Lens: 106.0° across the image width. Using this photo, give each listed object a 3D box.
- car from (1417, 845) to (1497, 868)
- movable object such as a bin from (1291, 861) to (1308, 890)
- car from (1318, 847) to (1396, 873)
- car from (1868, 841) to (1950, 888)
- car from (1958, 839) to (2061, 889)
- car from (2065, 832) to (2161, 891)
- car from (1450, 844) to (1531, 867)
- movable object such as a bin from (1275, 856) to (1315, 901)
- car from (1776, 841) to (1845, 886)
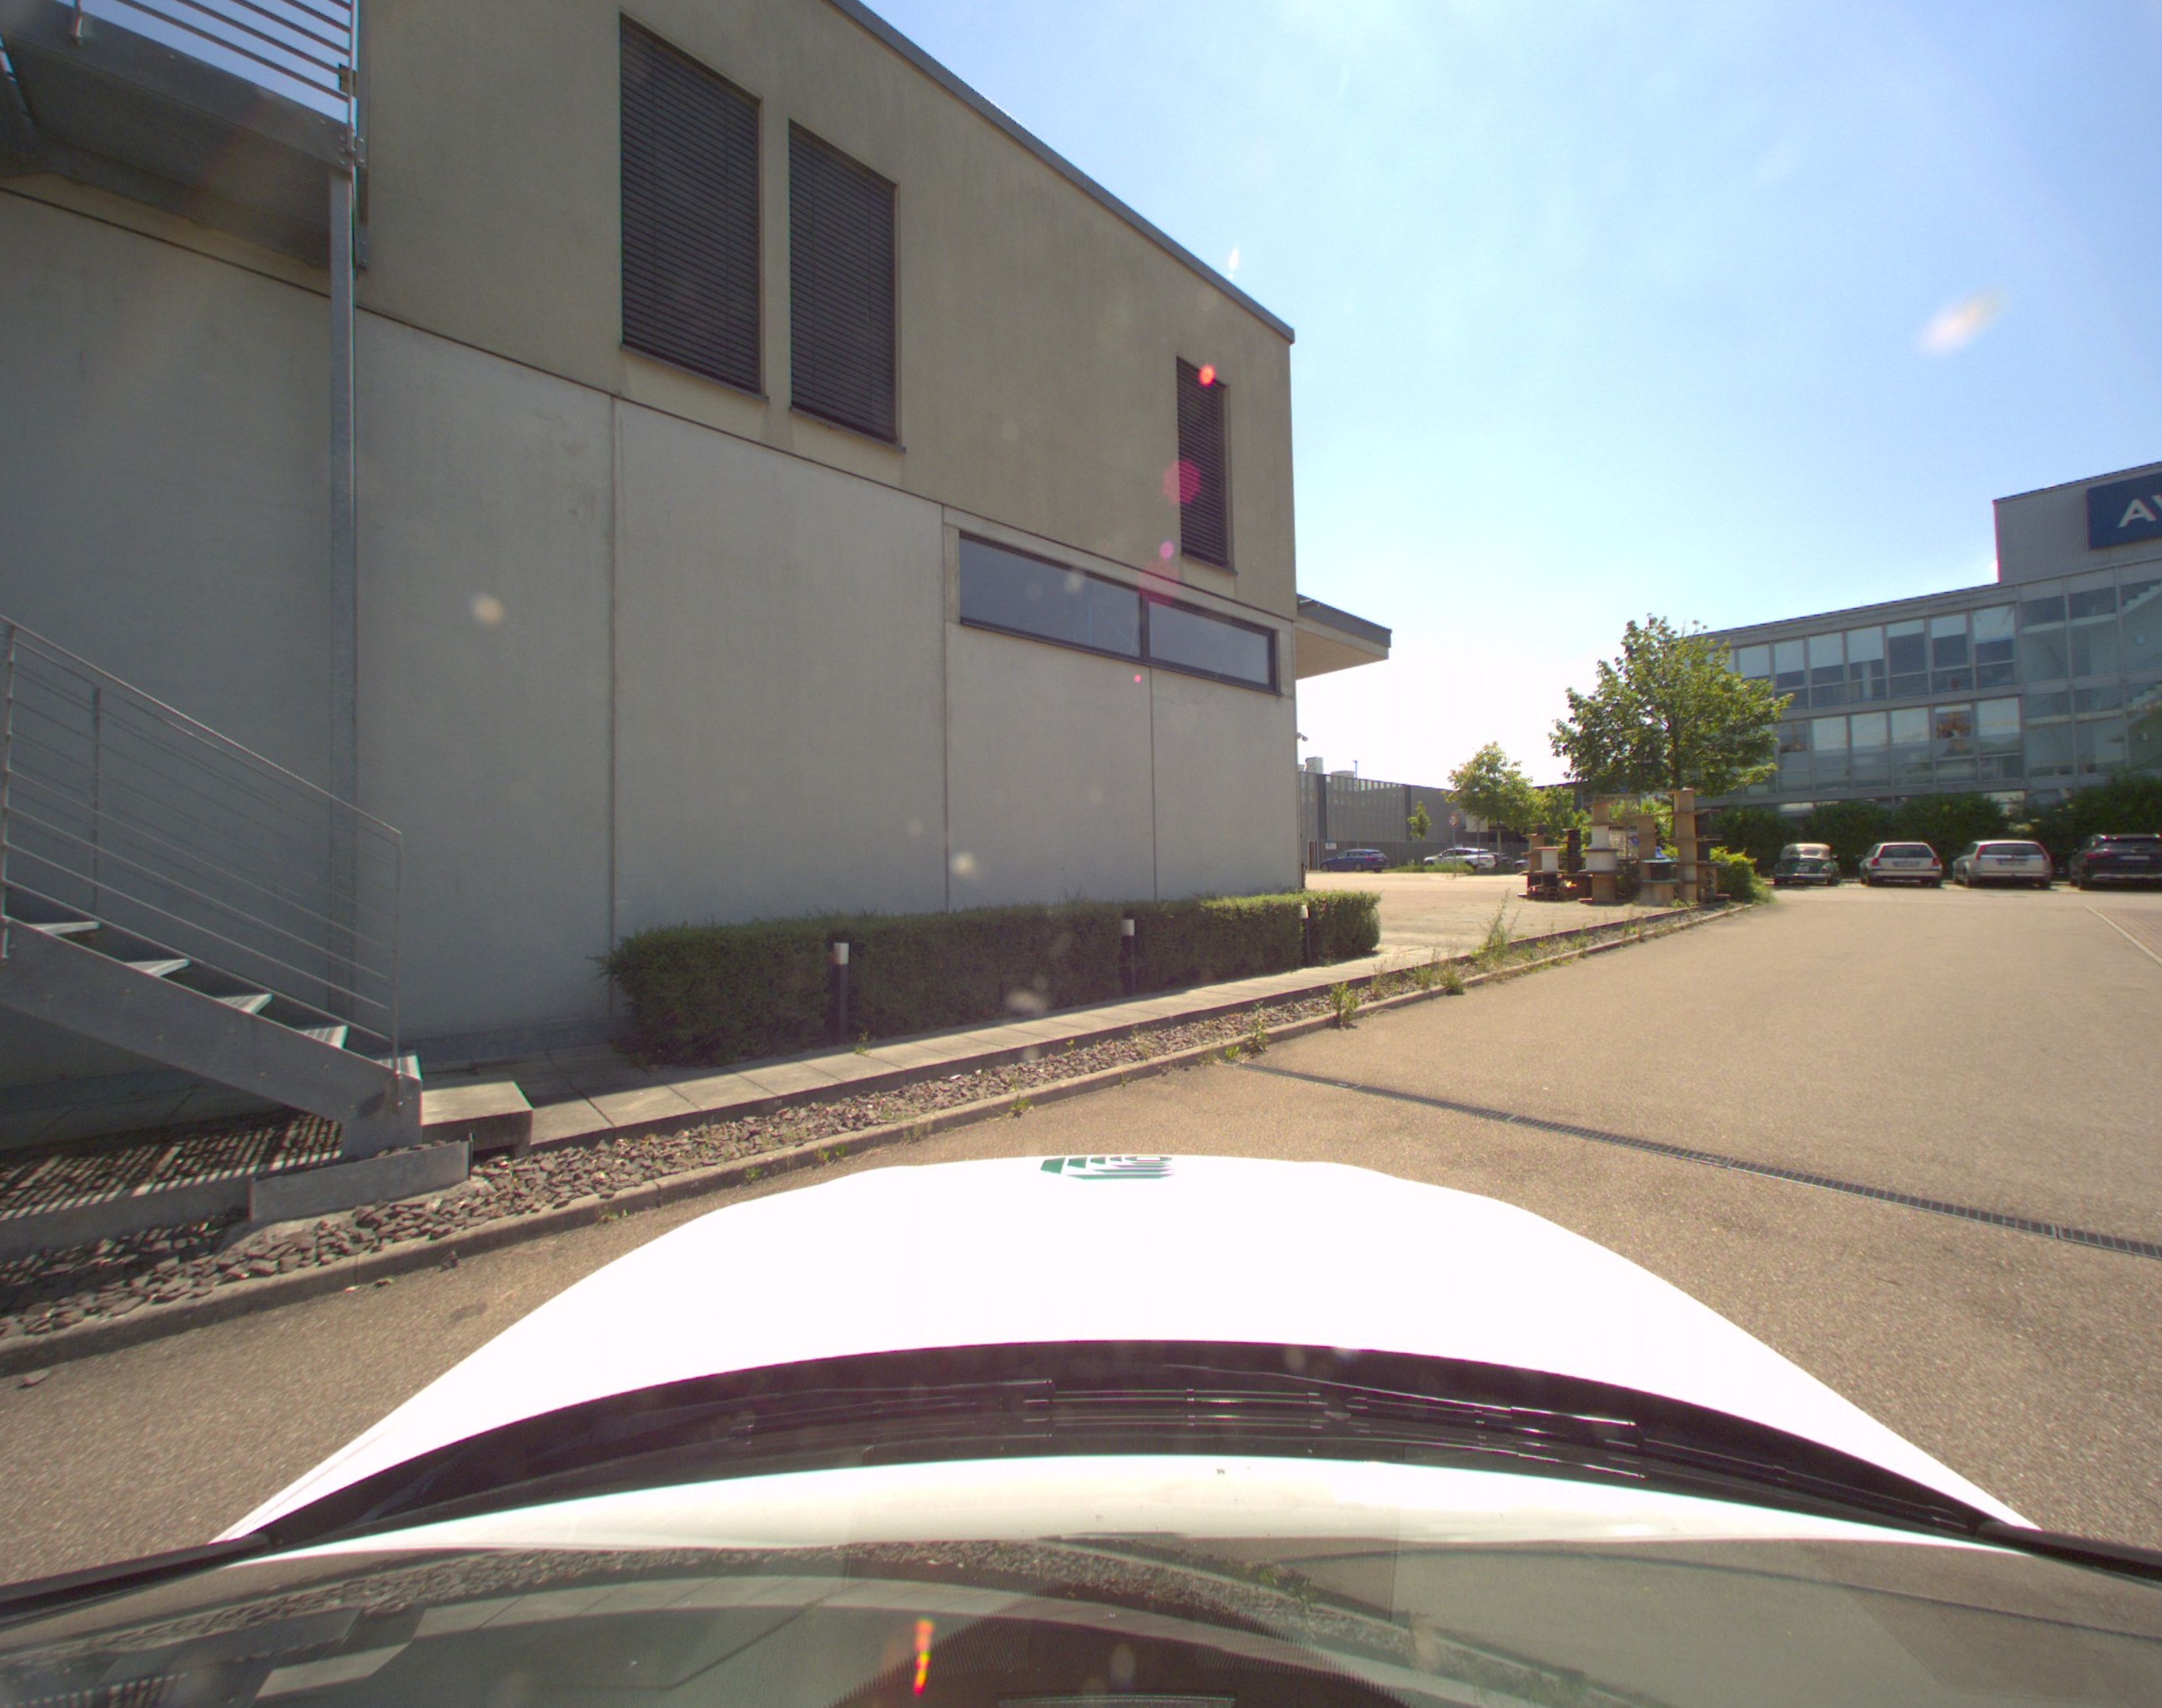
[{"bbox_3d":[25.790,0.150,56.047,2.005,1.491,4.811,-1,0,-27],"label":"car"},{"bbox_3d":[8.041,0.783,29.915,0.572,1.036,0.427,-1,-1,15],"label":"movable object such as a bin"},{"bbox_3d":[17.259,0.356,51.151,2.005,1.491,4.474,-1,0,-27],"label":"car"},{"bbox_3d":[27.527,0.304,27.168,1.715,1.449,3.676,0,1,43],"label":"car"},{"bbox_3d":[29.258,0.275,25.770,1.748,1.449,3.676,0,1,43],"label":"car"},{"bbox_3d":[30.788,0.164,24.061,4.009,1.610,1.910,-1,1,-43],"label":"car"},{"bbox_3d":[28.670,0.119,57.148,2.005,1.491,4.811,-1,0,-27],"label":"car"},{"bbox_3d":[6.623,0.745,25.217,0.888,1.345,0.804,0,-1,-36],"label":"movable object such as a bin"},{"bbox_3d":[25.780,0.310,28.742,3.675,1.449,1.528,-2,1,-44],"label":"car"}]
